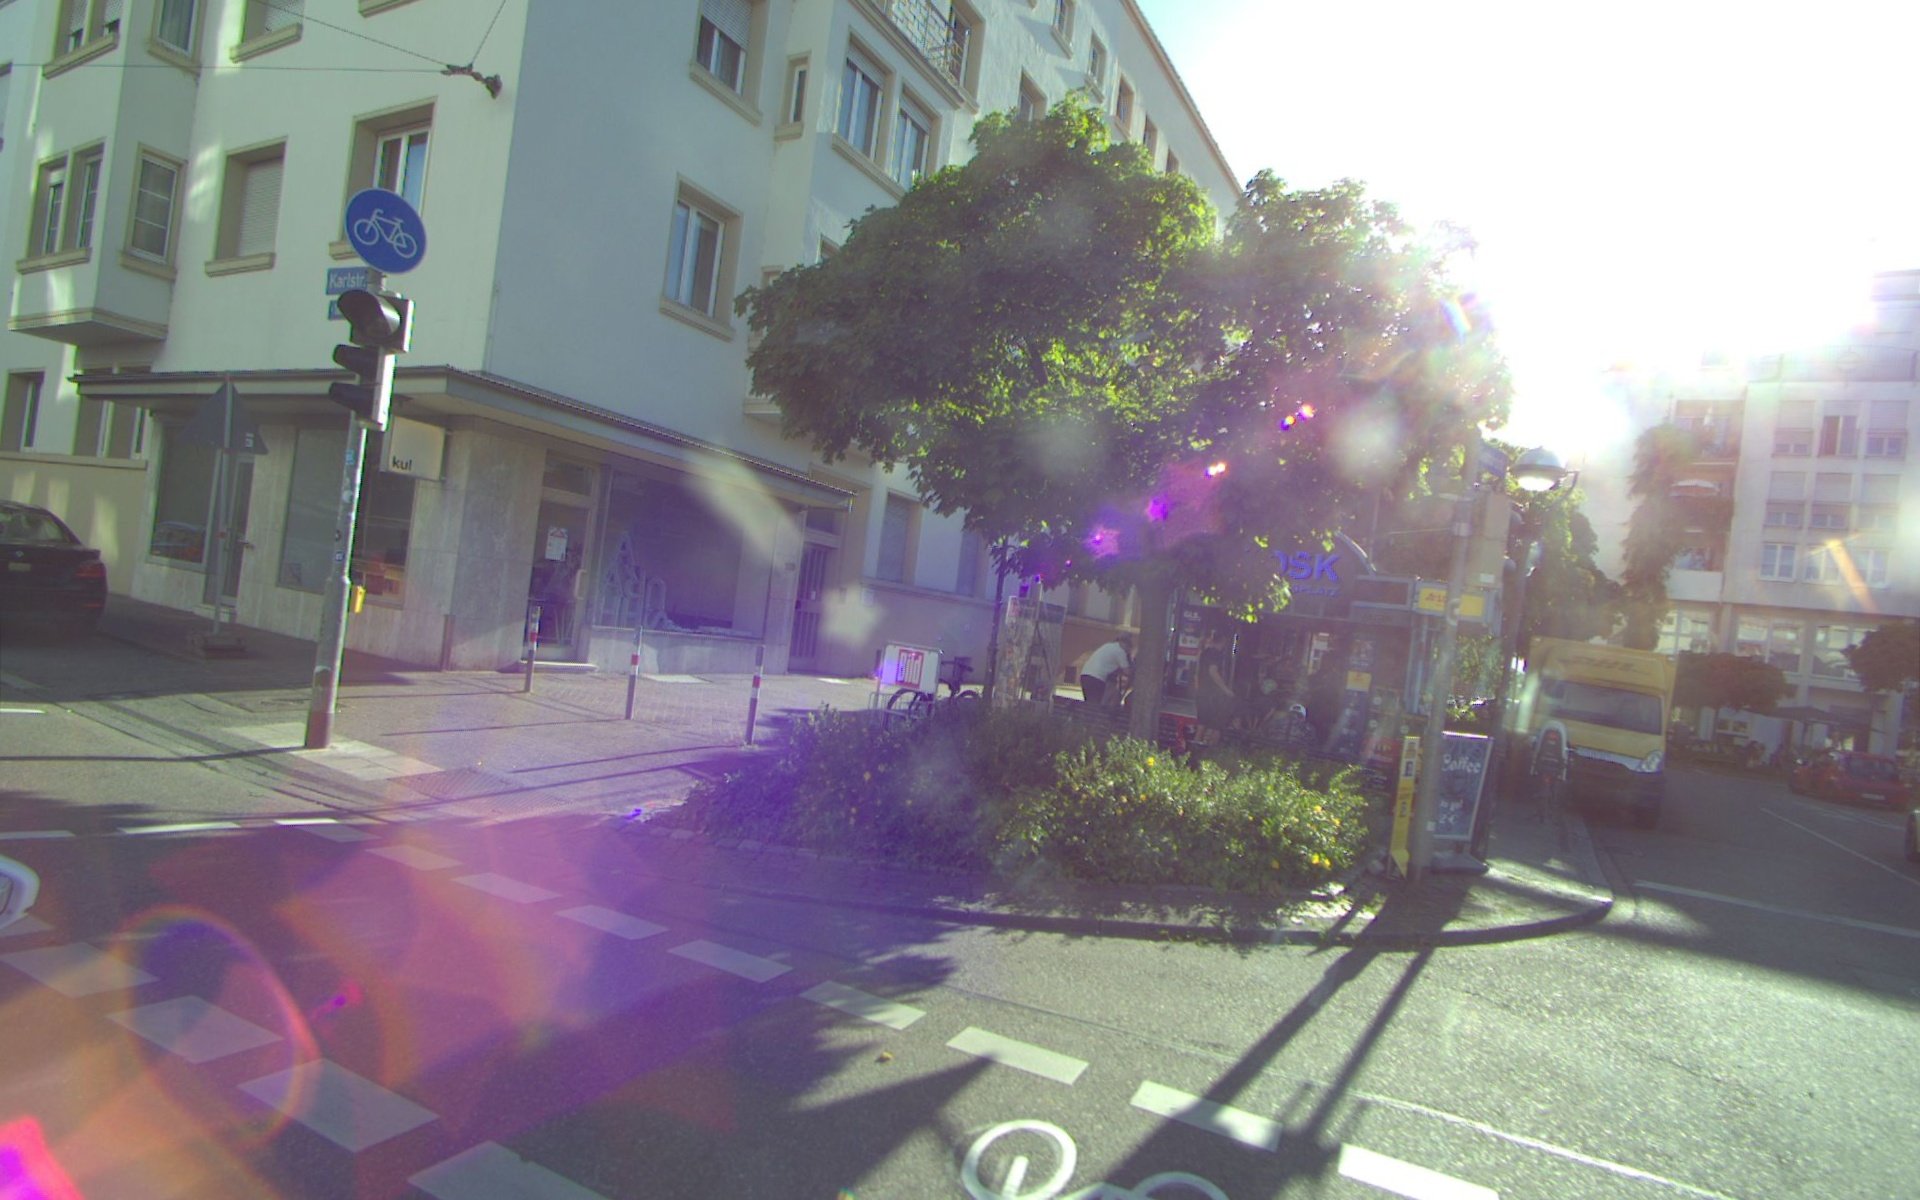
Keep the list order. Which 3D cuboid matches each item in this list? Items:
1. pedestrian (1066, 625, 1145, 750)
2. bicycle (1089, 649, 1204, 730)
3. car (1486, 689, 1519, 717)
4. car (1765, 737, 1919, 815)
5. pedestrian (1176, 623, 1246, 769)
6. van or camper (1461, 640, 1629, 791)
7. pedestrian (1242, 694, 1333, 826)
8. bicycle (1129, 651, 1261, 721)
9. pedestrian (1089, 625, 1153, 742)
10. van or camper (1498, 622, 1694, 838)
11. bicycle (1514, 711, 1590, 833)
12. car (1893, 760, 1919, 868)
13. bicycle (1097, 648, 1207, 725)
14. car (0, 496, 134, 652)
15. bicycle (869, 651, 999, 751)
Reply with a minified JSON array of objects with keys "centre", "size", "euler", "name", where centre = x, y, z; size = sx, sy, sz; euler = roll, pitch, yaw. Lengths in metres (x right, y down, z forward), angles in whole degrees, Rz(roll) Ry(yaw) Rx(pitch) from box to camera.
[{"centre":[2.037,1.217,14.096],"size":[0.732,1.622,0.615],"euler":[7,0,31],"name":"pedestrian"},{"centre":[3.698,1.763,20.006],"size":[1.999,1.233,0.661],"euler":[9,1,31],"name":"bicycle"},{"centre":[36.524,6.890,67.677],"size":[1.784,1.570,3.995],"euler":[7,-1,29],"name":"car"},{"centre":[24.662,4.837,28.179],"size":[1.774,1.480,3.995],"euler":[7,-1,17],"name":"car"},{"centre":[3.260,1.234,13.112],"size":[0.532,1.810,0.552],"euler":[7,0,-3],"name":"pedestrian"},{"centre":[14.484,2.770,24.757],"size":[2.875,2.847,6.921],"euler":[7,-1,33],"name":"van or camper"},{"centre":[3.365,1.620,10.314],"size":[0.542,1.227,0.732],"euler":[7,-1,37],"name":"pedestrian"},{"centre":[5.739,2.090,24.697],"size":[2.971,1.165,0.671],"euler":[9,1,31],"name":"bicycle"},{"centre":[2.362,1.224,14.762],"size":[0.582,1.622,0.551],"euler":[7,0,31],"name":"pedestrian"},{"centre":[11.123,2.169,17.880],"size":[2.182,2.847,6.924],"euler":[7,-1,31],"name":"van or camper"},{"centre":[7.969,2.252,13.505],"size":[0.546,1.440,2.069],"euler":[7,-1,36],"name":"bicycle"},{"centre":[14.175,3.110,13.297],"size":[1.779,1.480,4.544],"euler":[7,-1,33],"name":"car"},{"centre":[4.001,1.791,21.051],"size":[1.999,1.233,0.661],"euler":[9,1,31],"name":"bicycle"},{"centre":[-11.517,-0.467,11.480],"size":[4.838,1.527,1.749],"euler":[7,1,32],"name":"car"},{"centre":[-0.253,1.120,11.059],"size":[0.354,0.996,1.663],"euler":[7,-1,38],"name":"bicycle"}]
